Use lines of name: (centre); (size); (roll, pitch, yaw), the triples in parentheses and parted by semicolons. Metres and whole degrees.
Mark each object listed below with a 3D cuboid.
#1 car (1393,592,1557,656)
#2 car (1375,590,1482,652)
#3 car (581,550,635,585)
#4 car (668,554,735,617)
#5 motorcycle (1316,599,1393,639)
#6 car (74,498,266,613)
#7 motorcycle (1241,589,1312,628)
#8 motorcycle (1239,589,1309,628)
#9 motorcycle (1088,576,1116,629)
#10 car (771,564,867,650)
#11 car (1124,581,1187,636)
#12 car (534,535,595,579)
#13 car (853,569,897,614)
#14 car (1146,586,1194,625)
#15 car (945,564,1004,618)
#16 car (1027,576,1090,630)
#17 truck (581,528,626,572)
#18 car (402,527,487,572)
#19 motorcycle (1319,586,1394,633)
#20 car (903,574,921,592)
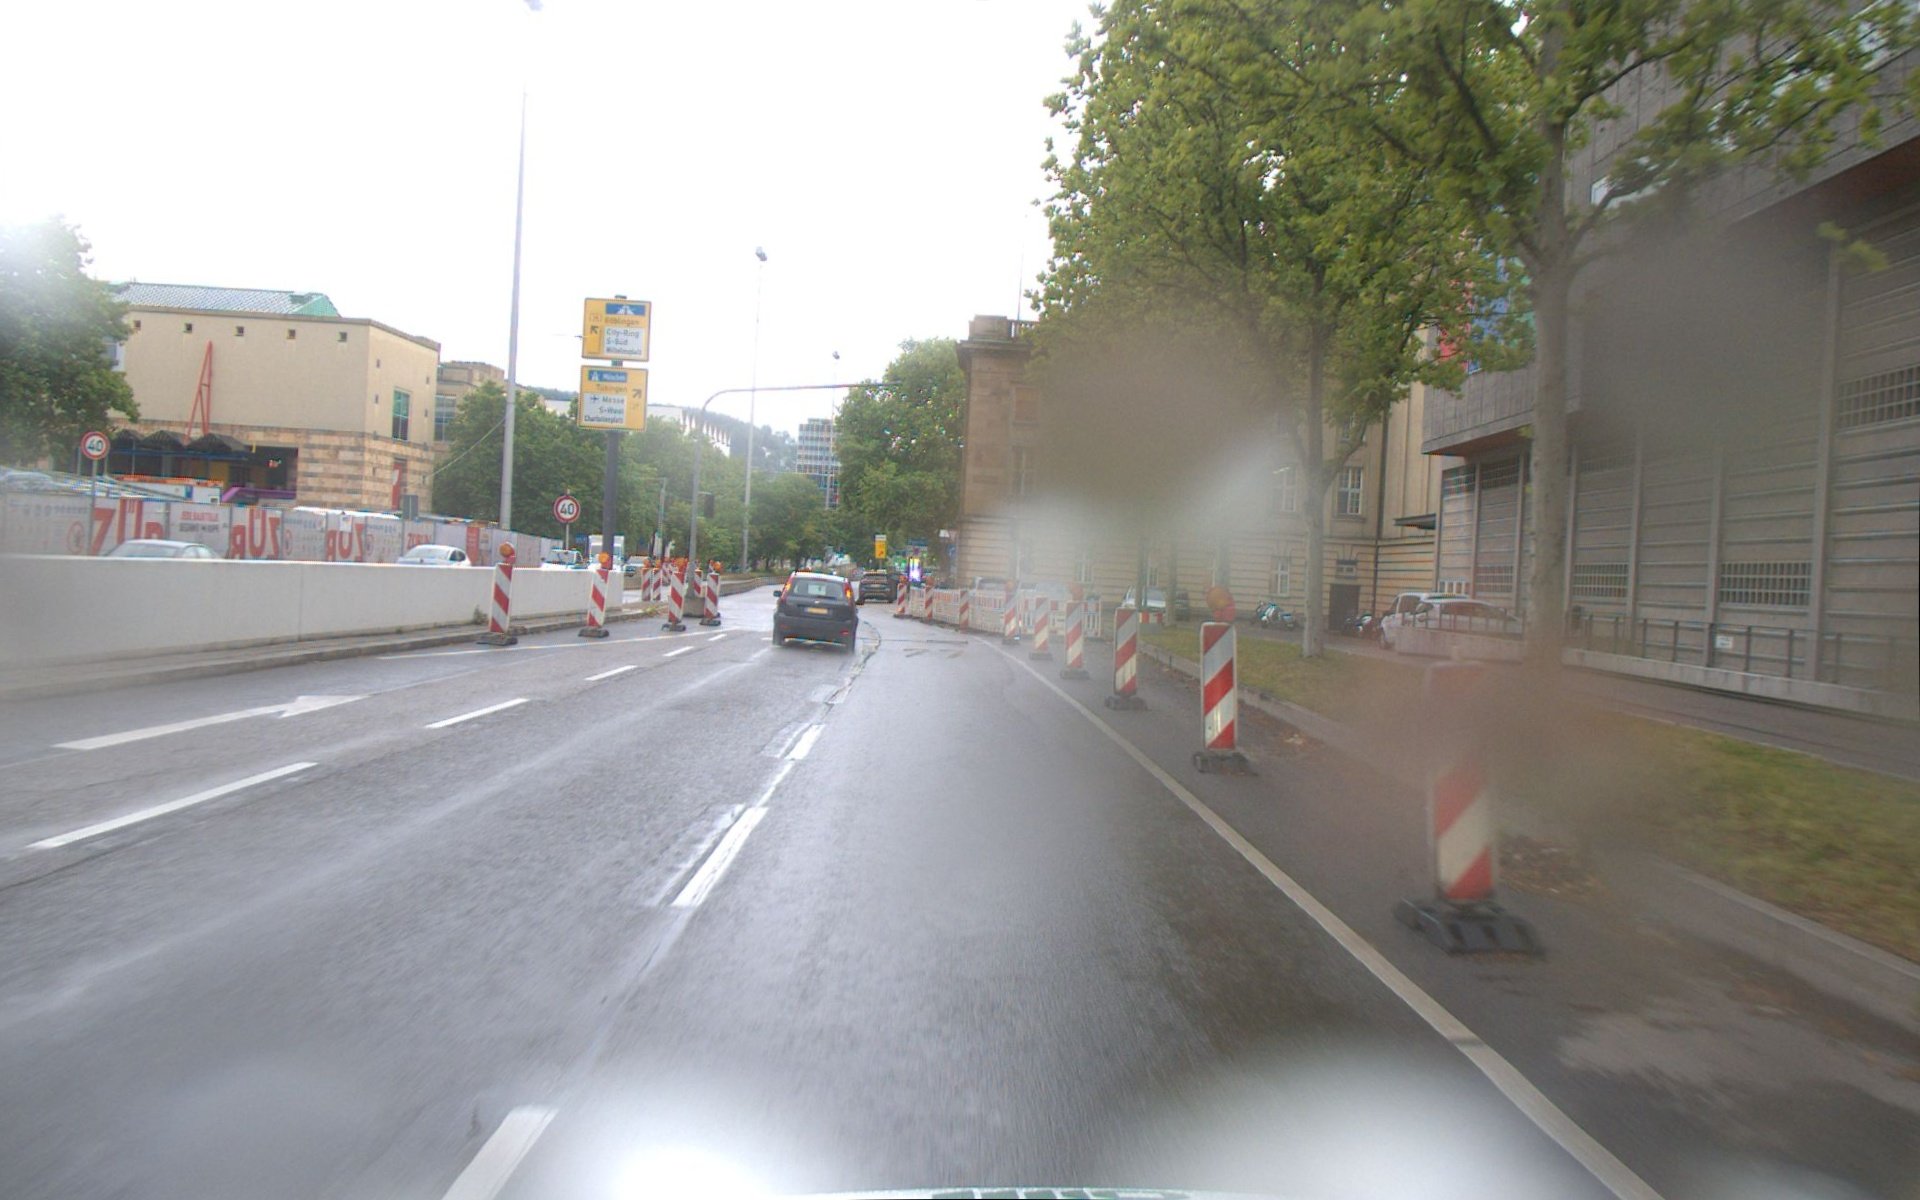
car: (14.189, 0.683, 45.713); (3.906, 1.587, 1.933); (2, -2, -1)
car: (15.119, 0.670, 53.676); (1.953, 1.790, 5.096); (3, -1, 0)
car: (-18.184, -1.638, 85.612); (1.954, 1.505, 3.998); (6, -1, -2)
car: (-6.297, -0.358, 40.558); (1.358, 1.410, 3.064); (3, 0, -5)
motorcycle: (18.566, 0.915, 77.871); (3.282, 1.557, 1.152); (6, -1, 1)
car: (-16.227, -0.899, 34.215); (1.954, 2.048, 3.999); (5, 1, -1)
motorcycle: (15.028, 0.414, 78.578); (3.097, 1.569, 0.890); (6, -1, 2)
motorcycle: (15.087, 0.394, 79.605); (3.096, 1.569, 0.890); (6, -1, 3)
motorcycle: (5.198, 0.065, 60.643); (0.813, 1.861, 3.144); (3, 1, 3)
car: (-2.772, 0.103, 33.105); (1.637, 1.451, 3.756); (6, 1, -3)
car: (7.088, 0.286, 60.371); (1.952, 1.737, 4.002); (5, 1, 4)
car: (-16.913, -1.813, 70.849); (1.635, 1.548, 3.998); (6, -1, -2)
car: (-4.302, -0.481, 84.304); (1.954, 2.048, 4.000); (5, 1, -1)
car: (10.288, 0.293, 81.274); (1.952, 1.738, 4.002); (5, 0, 4)
car: (0.497, -0.363, 61.029); (1.954, 1.737, 4.000); (5, 1, -1)
car: (3.650, 0.078, 61.979); (1.954, 1.737, 4.000); (5, 1, -1)
truck: (-22.079, -3.068, 102.690); (2.370, 2.379, 5.431); (6, -1, -10)
car: (-16.265, -1.578, 52.298); (1.594, 1.216, 3.404); (5, 1, -1)
motorcycle: (19.221, 0.461, 80.254); (3.281, 2.049, 1.152); (4, -1, 1)
car: (-6.385, -2.230, 218.930); (1.956, 2.048, 3.995); (6, -1, -6)
